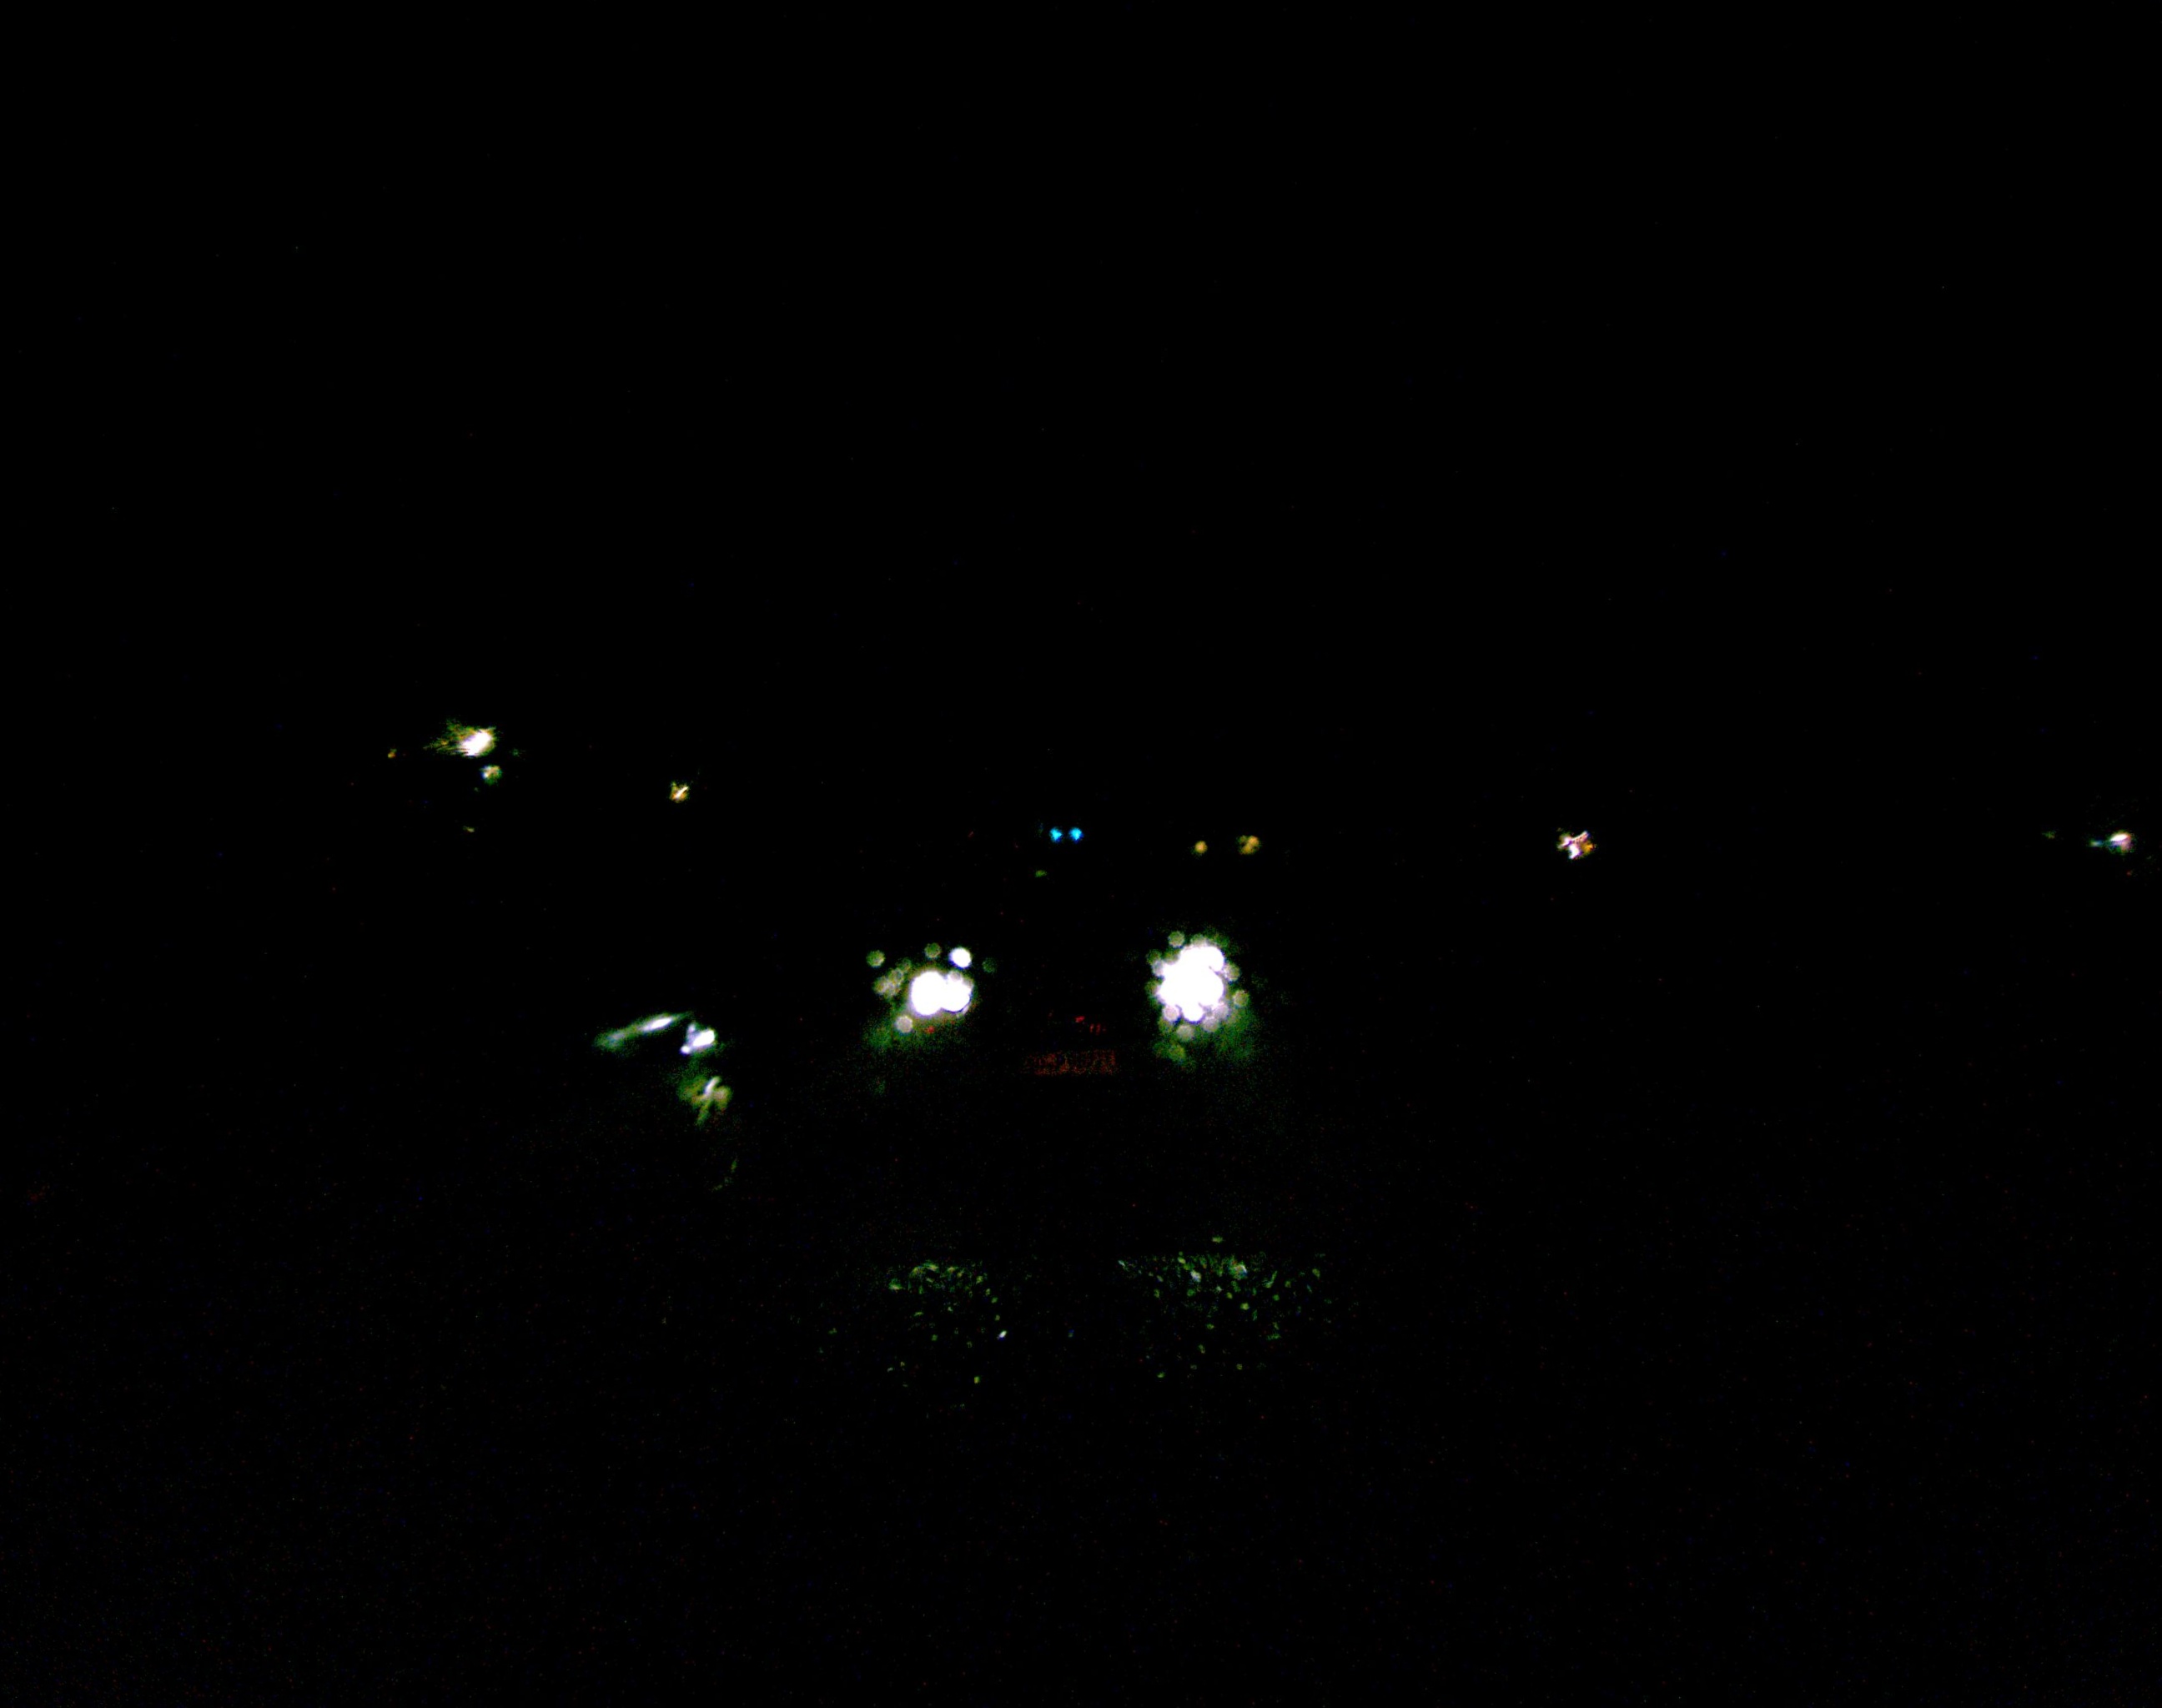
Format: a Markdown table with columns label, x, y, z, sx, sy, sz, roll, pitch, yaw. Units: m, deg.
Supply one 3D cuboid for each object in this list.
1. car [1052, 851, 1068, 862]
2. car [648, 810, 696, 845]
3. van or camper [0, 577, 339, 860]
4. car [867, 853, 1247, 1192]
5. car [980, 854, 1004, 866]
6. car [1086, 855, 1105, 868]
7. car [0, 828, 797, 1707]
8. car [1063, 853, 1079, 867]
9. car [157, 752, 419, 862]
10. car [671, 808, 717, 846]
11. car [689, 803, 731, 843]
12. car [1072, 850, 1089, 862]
| label | x | y | z | sx | sy | sz | roll | pitch | yaw |
| --- | --- | --- | --- | --- | --- | --- | --- | --- | --- |
| car | -3.544 | 0.359 | 127.089 | 2.001 | 1.687 | 3.995 | -3 | 1 | -13 |
| car | -24.999 | -1.585 | 46.509 | 1.735 | 2.002 | 3.696 | -3 | 1 | -16 |
| van or camper | -12.763 | -1.357 | 9.611 | 2.417 | 2.777 | 5.763 | -3 | 1 | -18 |
| car | -0.088 | 0.842 | 5.950 | 1.826 | 1.573 | 4.354 | -2 | 1 | 1 |
| car | -16.216 | 1.111 | 138.796 | 3.989 | 2.002 | 2.003 | -2 | 1 | 33 |
| car | 1.813 | 1.012 | 96.384 | 1.893 | 1.559 | 4.484 | -1 | -1 | -6 |
| car | -2.549 | 0.851 | 1.680 | 1.839 | 1.725 | 4.941 | -2 | 1 | 1 |
| car | -1.533 | 0.853 | 113.213 | 1.999 | 2.002 | 3.997 | -2 | 1 | -5 |
| car | -16.381 | -0.896 | 16.059 | 2.001 | 2.002 | 3.994 | -3 | 1 | -16 |
| car | -26.328 | -1.800 | 51.814 | 1.937 | 2.406 | 4.249 | -3 | 1 | -16 |
| car | -27.783 | -2.303 | 57.020 | 1.937 | 2.759 | 4.249 | -3 | 1 | -16 |
| car | -0.062 | 0.331 | 126.122 | 2.091 | 2.002 | 4.709 | -2 | 1 | -8 |
